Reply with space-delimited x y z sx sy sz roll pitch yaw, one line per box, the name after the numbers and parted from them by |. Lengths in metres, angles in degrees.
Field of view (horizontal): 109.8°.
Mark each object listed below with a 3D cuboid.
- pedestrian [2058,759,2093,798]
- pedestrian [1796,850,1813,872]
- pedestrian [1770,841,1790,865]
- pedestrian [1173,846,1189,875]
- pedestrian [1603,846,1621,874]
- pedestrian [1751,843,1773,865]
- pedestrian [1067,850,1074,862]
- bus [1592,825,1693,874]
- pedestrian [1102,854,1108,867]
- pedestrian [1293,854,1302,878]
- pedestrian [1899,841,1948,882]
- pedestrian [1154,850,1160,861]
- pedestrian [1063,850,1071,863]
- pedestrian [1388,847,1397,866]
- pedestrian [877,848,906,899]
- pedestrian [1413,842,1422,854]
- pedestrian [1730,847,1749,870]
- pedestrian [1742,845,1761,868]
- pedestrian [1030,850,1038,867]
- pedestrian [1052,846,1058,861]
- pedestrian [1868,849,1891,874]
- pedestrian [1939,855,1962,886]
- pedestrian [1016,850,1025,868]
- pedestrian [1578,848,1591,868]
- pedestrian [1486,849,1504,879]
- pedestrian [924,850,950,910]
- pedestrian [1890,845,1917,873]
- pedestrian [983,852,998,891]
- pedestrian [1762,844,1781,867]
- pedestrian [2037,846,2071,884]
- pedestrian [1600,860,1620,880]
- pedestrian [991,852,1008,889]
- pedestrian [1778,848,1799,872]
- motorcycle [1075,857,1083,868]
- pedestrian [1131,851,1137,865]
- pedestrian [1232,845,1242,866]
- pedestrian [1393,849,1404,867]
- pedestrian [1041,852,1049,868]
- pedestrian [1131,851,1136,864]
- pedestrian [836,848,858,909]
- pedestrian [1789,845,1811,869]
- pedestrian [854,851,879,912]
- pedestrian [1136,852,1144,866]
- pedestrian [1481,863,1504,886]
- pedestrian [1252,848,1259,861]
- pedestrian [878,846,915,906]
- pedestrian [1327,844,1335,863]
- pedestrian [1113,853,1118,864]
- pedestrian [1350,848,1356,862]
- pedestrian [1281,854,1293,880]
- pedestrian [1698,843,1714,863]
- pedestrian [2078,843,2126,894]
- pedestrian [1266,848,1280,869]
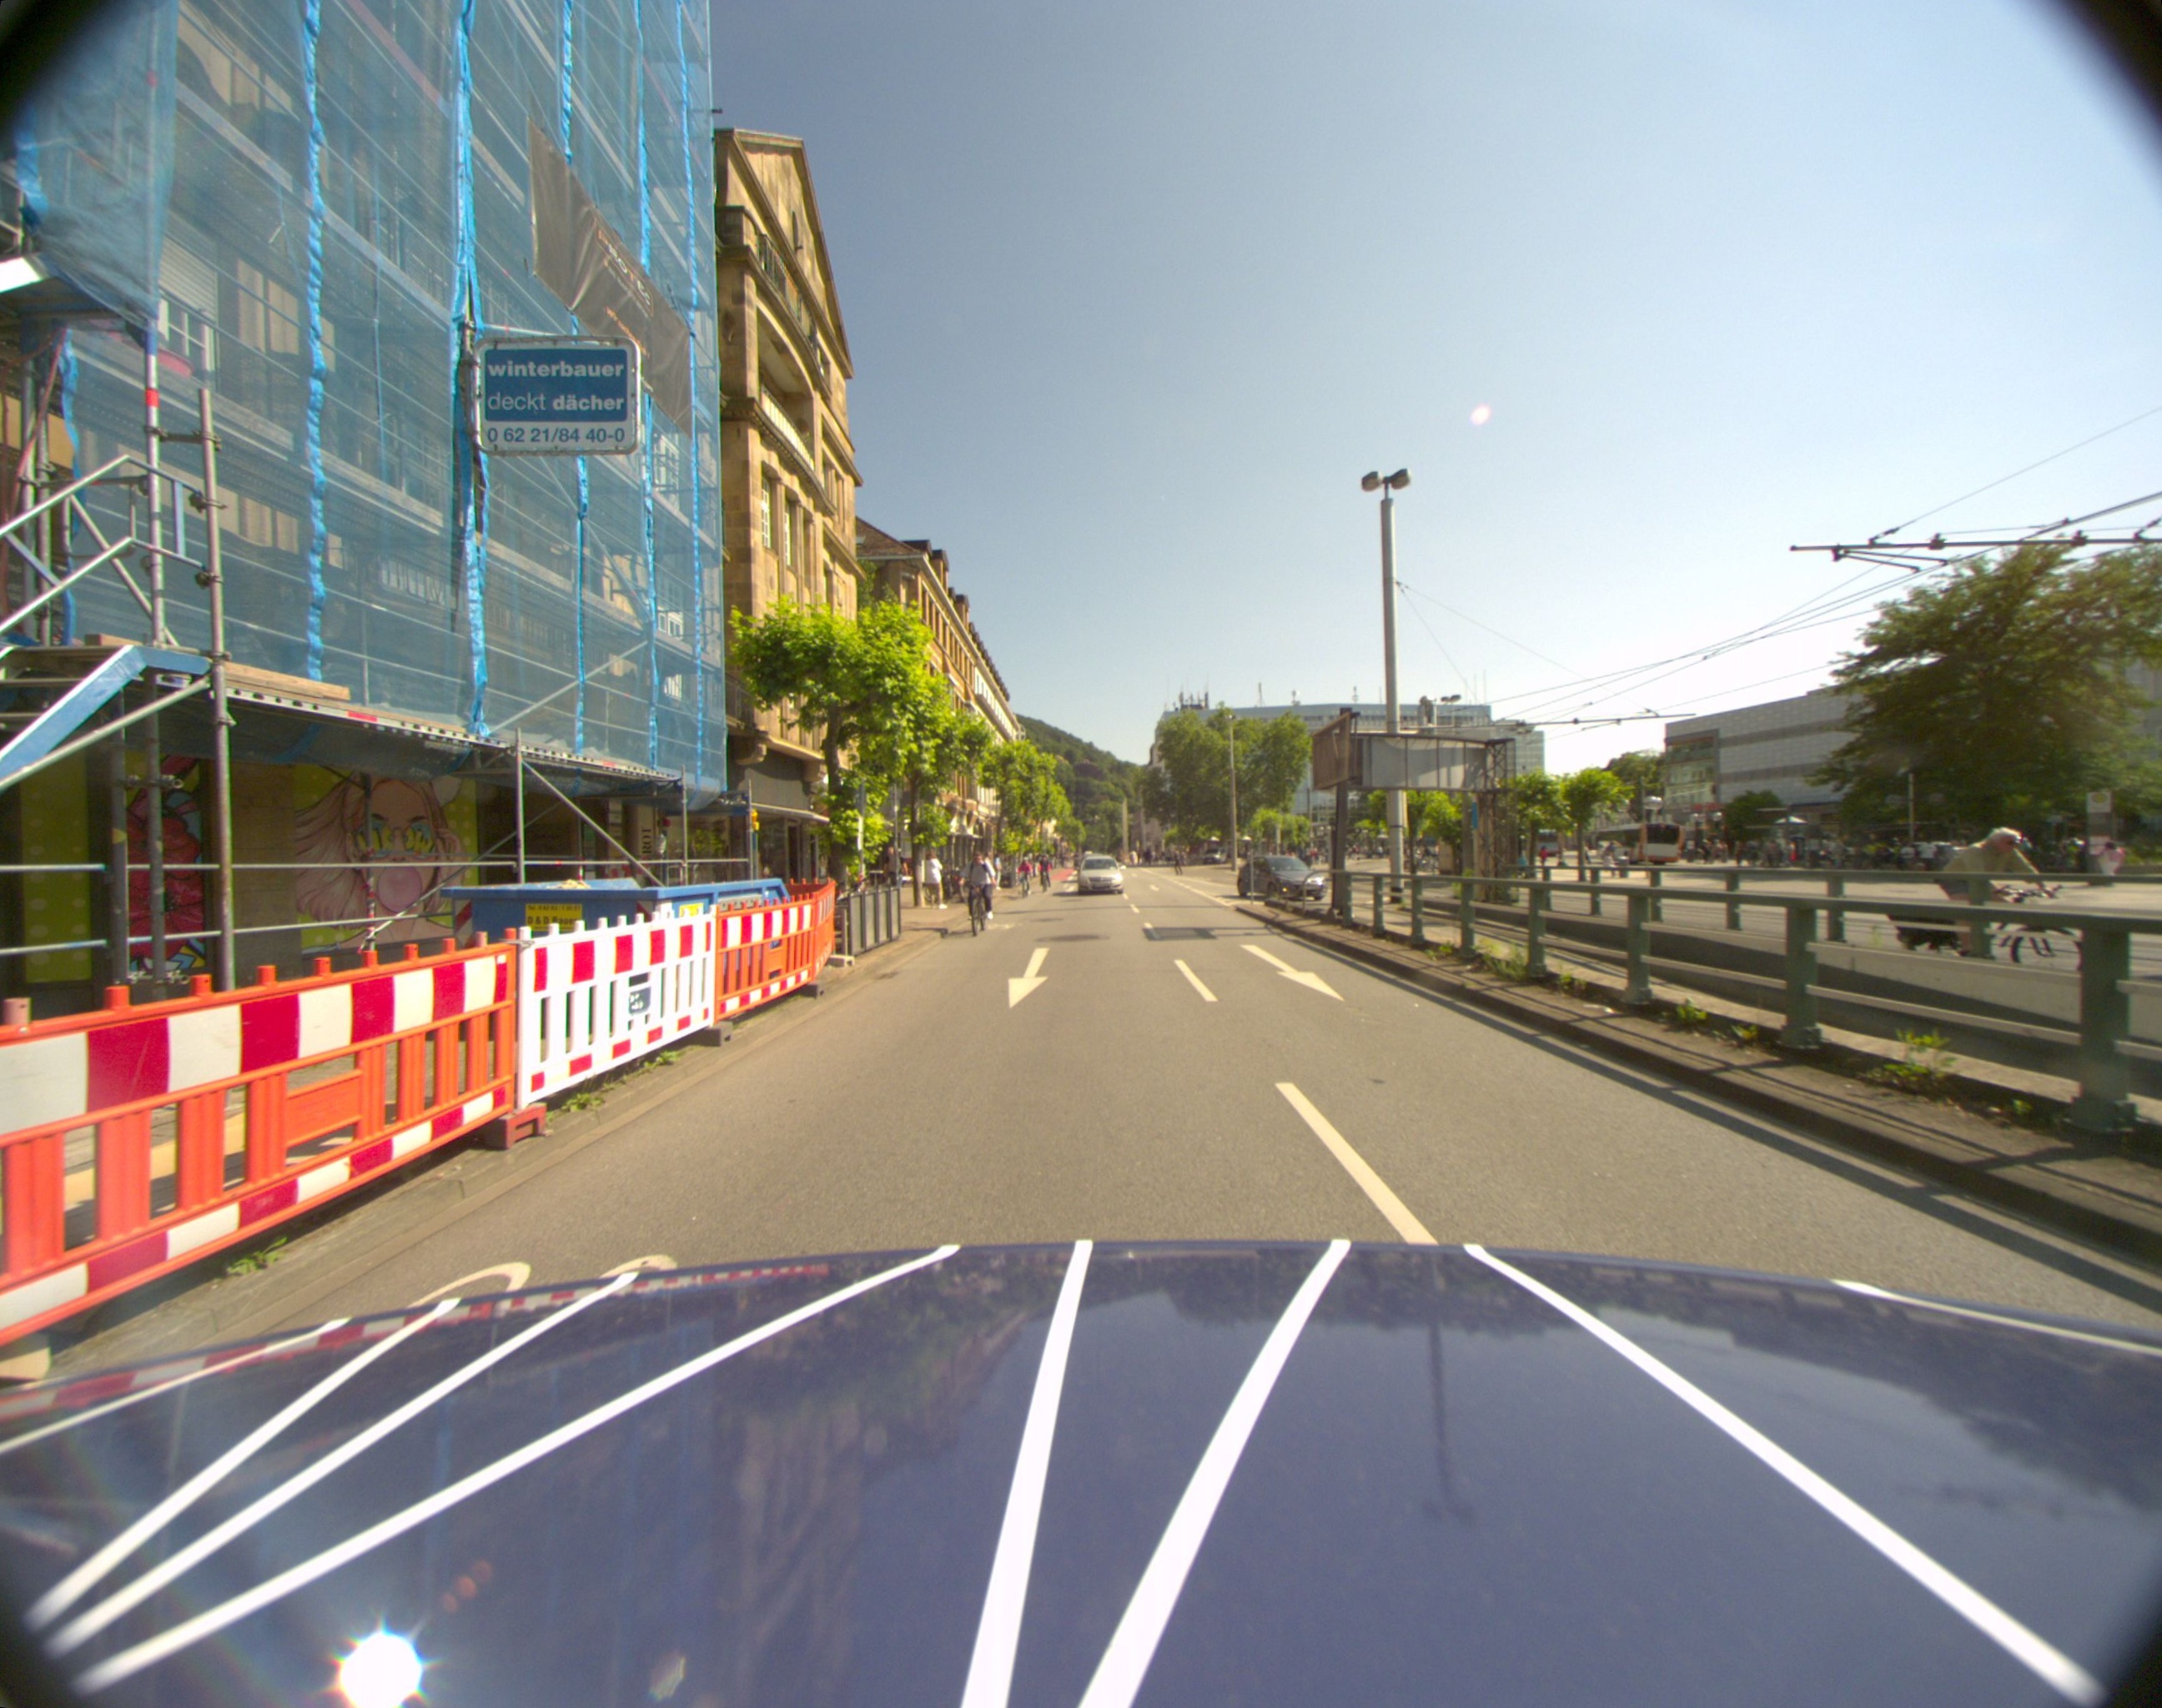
44.608 -3.373 34.077 0.742 1.718 0.619 0 1 0 | pedestrian
42.741 0.404 44.893 0.518 1.255 0.453 0 1 5 | pedestrian
43.405 -0.066 47.183 0.625 1.457 0.680 0 1 -4 | pedestrian
7.062 0.466 53.445 0.897 1.996 0.678 -1 1 -43 | pedestrian
30.240 0.332 43.260 0.608 1.598 0.549 0 1 4 | pedestrian
45.186 -0.013 50.416 0.789 1.457 0.742 0 1 -4 | pedestrian
-1.389 0.224 97.589 0.672 1.488 0.637 -4 2 -13 | pedestrian
45.250 -0.551 61.837 3.060 3.400 12.474 -4 1 20 | bus
3.291 0.838 104.916 0.699 1.775 0.578 -1 1 -5 | pedestrian
14.118 0.775 49.583 0.525 1.600 0.627 0 1 10 | pedestrian
36.924 0.329 33.304 0.967 1.783 1.081 0 1 10 | pedestrian
12.133 0.243 121.574 0.732 1.660 0.640 -4 1 15 | pedestrian
-1.745 0.328 95.219 0.579 1.675 0.726 -5 1 -22 | pedestrian
26.659 0.230 65.057 0.473 1.656 0.521 0 1 -21 | pedestrian
-6.754 0.691 27.123 0.669 1.771 0.985 -2 2 5 | pedestrian
43.066 -0.789 97.173 0.757 1.464 0.555 -4 1 1 | pedestrian
42.926 0.282 49.561 0.625 1.457 0.680 0 1 -2 | pedestrian
42.777 0.152 48.493 0.625 1.457 0.680 0 1 -4 | pedestrian
-5.139 0.449 82.938 0.635 1.783 0.776 -4 1 -1 | pedestrian
-3.021 -0.045 88.084 0.578 1.675 0.775 -4 1 -2 | pedestrian
40.718 0.376 38.758 0.581 1.256 0.623 0 0 15 | pedestrian
35.205 0.664 30.781 0.404 1.256 0.481 0 1 -18 | pedestrian
-5.989 0.498 74.808 0.658 1.686 0.676 -4 1 2 | pedestrian
38.199 0.291 57.646 0.526 1.457 0.588 0 1 -19 | pedestrian
21.866 0.522 40.102 0.577 1.600 0.602 0 1 -28 | pedestrian
-4.203 0.745 22.133 0.658 1.673 0.652 -3 2 -11 | pedestrian
37.293 0.202 34.455 0.622 1.256 0.582 0 1 10 | pedestrian
-3.815 0.724 31.959 0.601 1.617 0.643 0 1 -8 | pedestrian
44.967 0.087 49.476 0.625 1.457 0.680 0 1 -4 | pedestrian
41.820 0.464 32.671 0.743 1.589 0.618 0 1 -11 | pedestrian
26.378 0.801 37.896 0.635 0.995 0.580 0 1 4 | pedestrian
-3.568 0.712 33.378 0.697 1.617 0.701 -1 1 -8 | pedestrian
42.769 0.355 45.944 0.624 1.457 0.681 0 1 5 | pedestrian
-0.235 0.944 86.810 0.736 1.086 1.897 -4 1 1 | motorcycle
7.126 0.546 102.512 0.639 1.737 0.733 -4 1 0 | pedestrian
15.160 0.106 73.845 0.693 1.996 0.564 -3 2 -8 | pedestrian
26.901 0.331 64.446 0.626 1.457 0.552 0 1 -21 | pedestrian
-3.482 0.596 73.405 0.606 1.529 0.666 -4 1 0 | pedestrian
6.882 0.461 99.338 0.575 1.704 0.652 -4 1 0 | pedestrian
-6.562 0.684 21.304 0.477 1.673 0.381 -2 2 -31 | pedestrian
43.798 0.169 46.291 0.625 1.457 0.680 0 1 -4 | pedestrian
-6.104 0.771 21.600 0.538 1.673 0.498 -2 2 -31 | pedestrian
7.620 0.588 98.010 0.876 1.737 0.733 -4 1 0 | pedestrian
20.884 1.029 38.569 0.677 1.164 0.752 0 0 -5 | pedestrian
23.236 0.081 101.180 0.638 1.683 0.753 -4 2 24 | pedestrian
-5.825 0.680 24.042 0.816 1.838 0.891 -1 2 8 | pedestrian
23.995 -0.083 73.017 0.577 1.805 0.605 0 1 1 | pedestrian
5.672 0.748 126.241 0.699 1.775 0.578 -1 1 -5 | pedestrian
30.575 0.127 85.409 0.477 1.540 0.451 0 1 -26 | pedestrian
13.451 0.830 49.635 0.527 1.723 0.586 0 1 -29 | pedestrian
46.103 -0.082 56.066 0.624 1.457 0.681 0 1 4 | pedestrian
34.719 0.478 25.845 0.678 1.696 0.705 0 1 0 | pedestrian
15.599 0.356 61.839 0.895 1.649 0.680 -1 1 -8 | pedestrian
